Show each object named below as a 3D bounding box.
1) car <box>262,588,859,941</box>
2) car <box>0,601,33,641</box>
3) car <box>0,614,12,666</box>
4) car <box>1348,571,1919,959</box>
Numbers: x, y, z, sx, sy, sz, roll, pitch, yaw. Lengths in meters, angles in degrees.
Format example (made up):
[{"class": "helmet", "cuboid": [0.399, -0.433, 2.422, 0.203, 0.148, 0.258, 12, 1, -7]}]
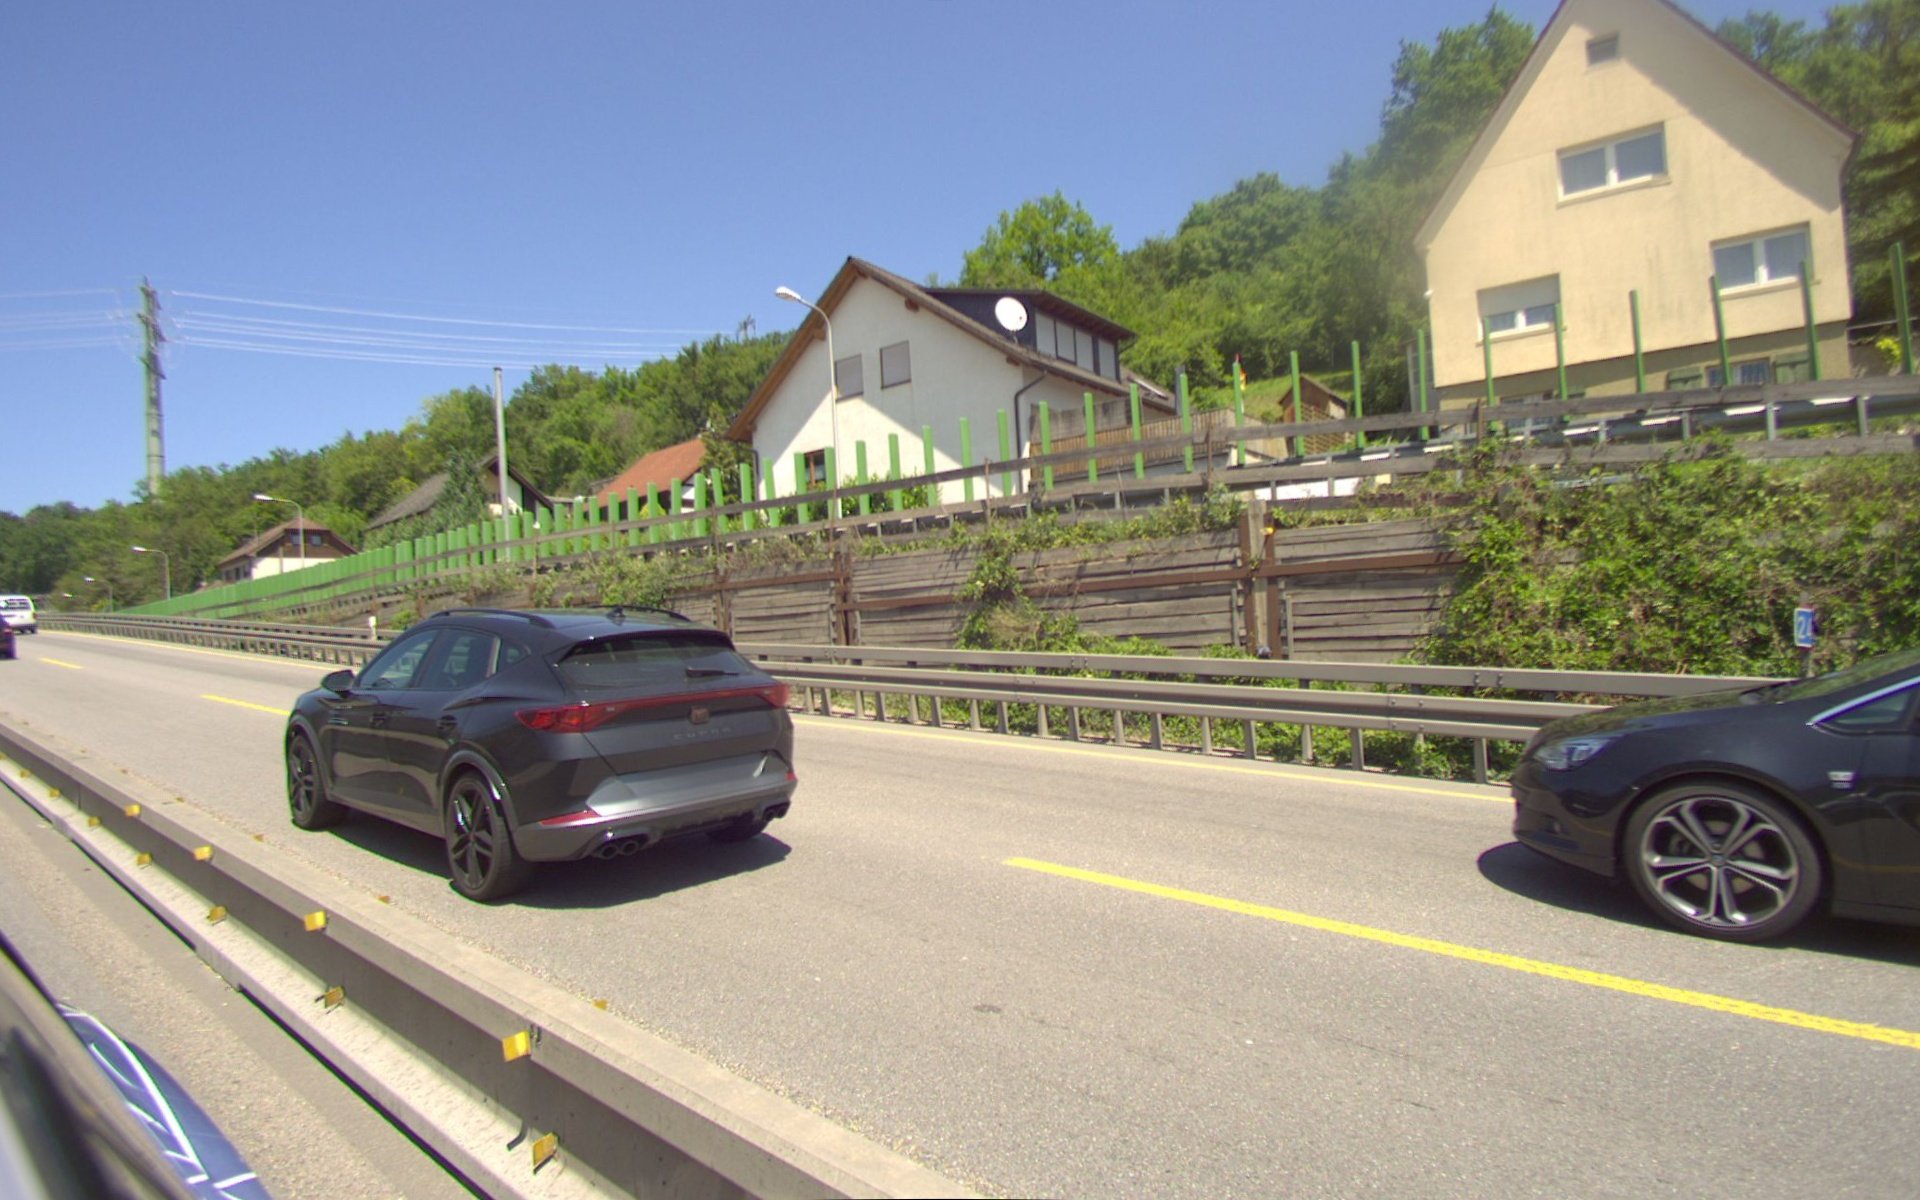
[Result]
[{"class": "car", "cuboid": [-2.786, 0.717, 6.518, 4.292, 1.541, 1.824, 0, 0, 41]}, {"class": "car", "cuboid": [-45.872, 0.972, 48.519, 4.750, 1.847, 1.580, 0, 0, 41]}, {"class": "car", "cuboid": [-29.283, 1.144, 29.676, 4.665, 1.457, 1.590, 0, 0, 39]}, {"class": "car", "cuboid": [4.494, 0.611, 4.313, 5.003, 1.459, 1.795, 0, 2, 40]}]
